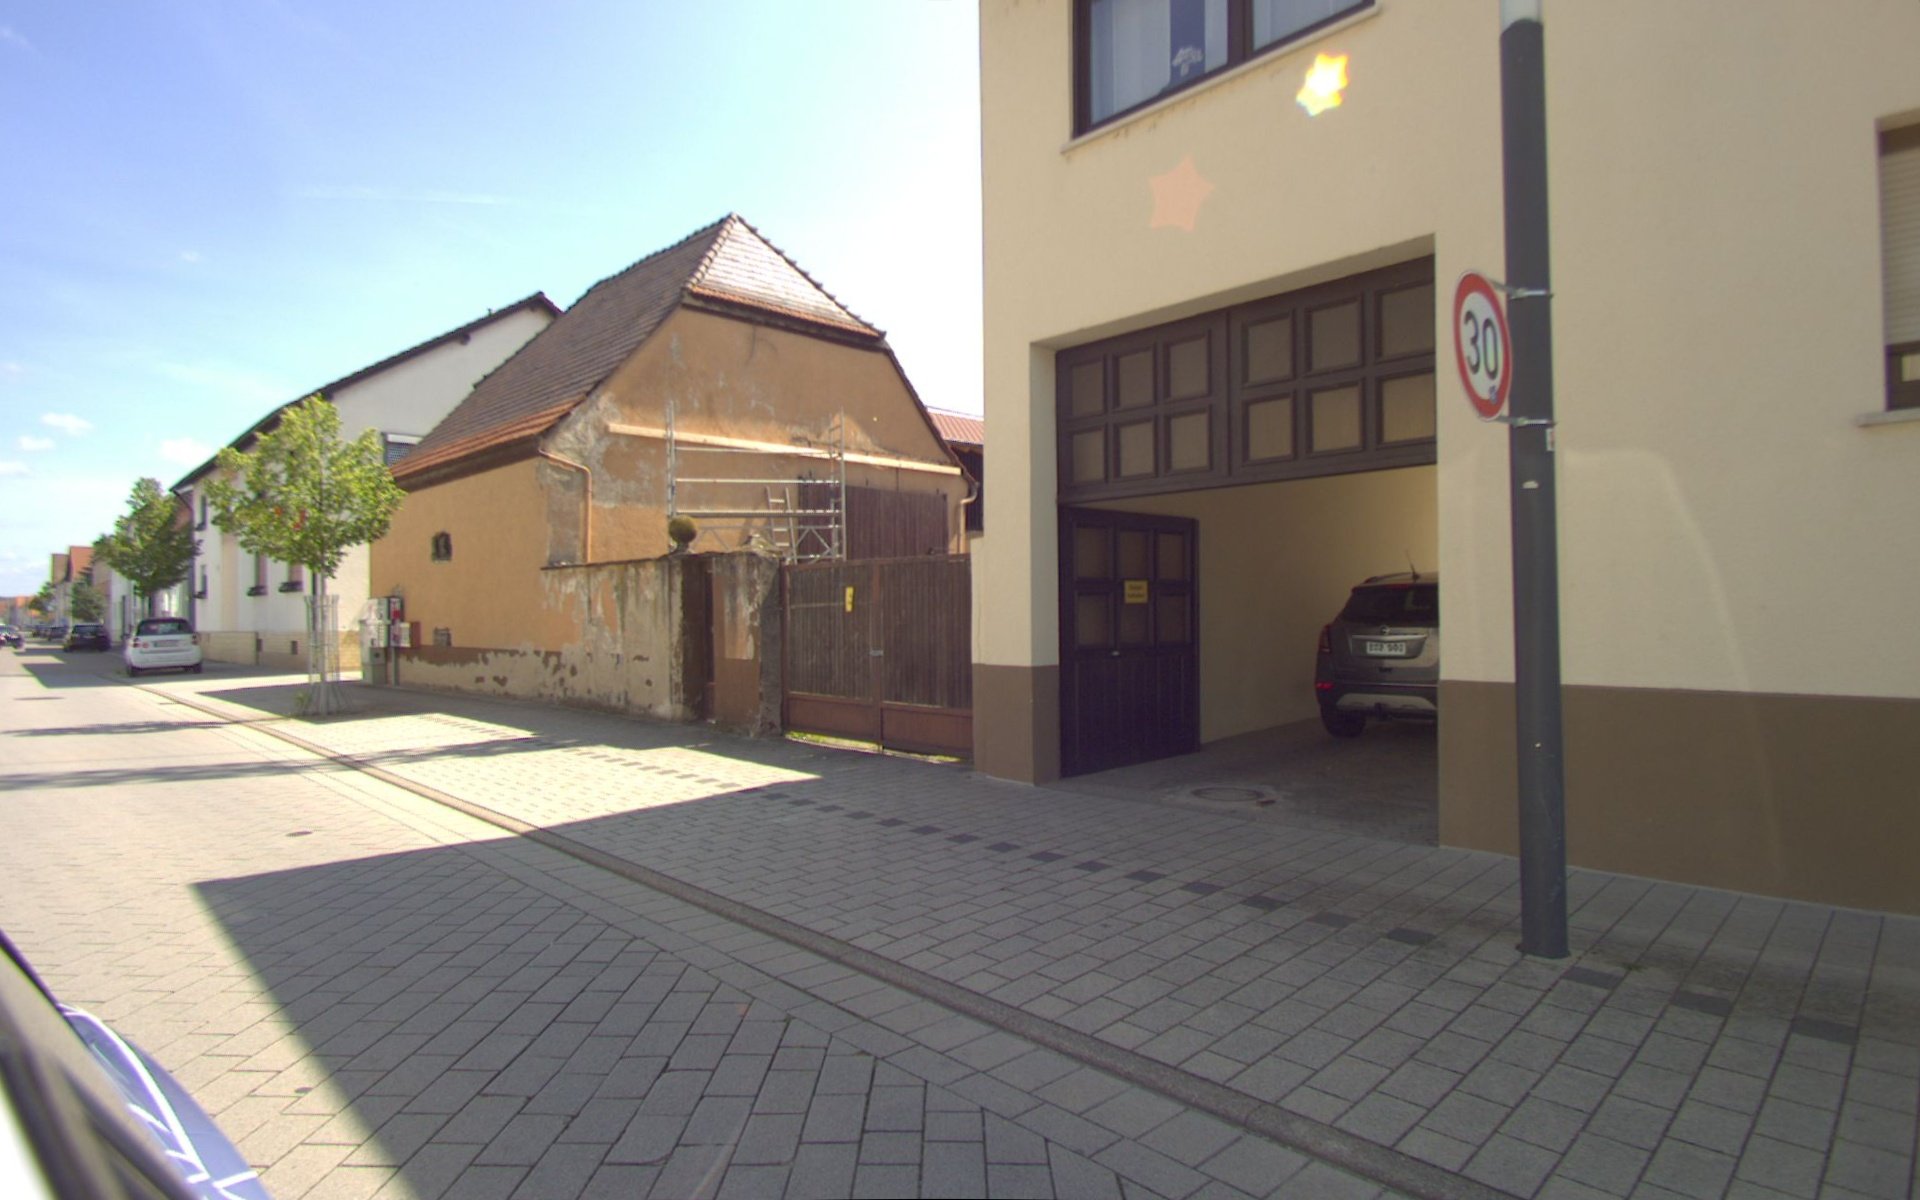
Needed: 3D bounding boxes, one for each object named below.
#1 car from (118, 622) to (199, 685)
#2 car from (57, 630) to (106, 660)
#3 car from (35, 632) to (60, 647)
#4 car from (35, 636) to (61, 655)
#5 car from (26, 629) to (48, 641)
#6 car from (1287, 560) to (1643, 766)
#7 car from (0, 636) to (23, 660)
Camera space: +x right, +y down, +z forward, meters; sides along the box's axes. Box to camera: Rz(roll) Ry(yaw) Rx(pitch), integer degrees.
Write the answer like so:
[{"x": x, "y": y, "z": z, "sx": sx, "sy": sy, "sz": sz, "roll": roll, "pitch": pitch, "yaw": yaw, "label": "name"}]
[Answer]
[{"x": -22.088, "y": 1.424, "z": 27.871, "sx": 1.553, "sy": 1.573, "sz": 2.825, "roll": -3, "pitch": 1, "yaw": -42, "label": "car"}, {"x": -48.324, "y": 2.462, "z": 55.640, "sx": 3.957, "sy": 1.578, "sz": 1.728, "roll": -2, "pitch": -2, "yaw": 45, "label": "car"}, {"x": -101.230, "y": 4.372, "z": 112.270, "sx": 4.001, "sy": 1.564, "sz": 1.829, "roll": -2, "pitch": -2, "yaw": 44, "label": "car"}, {"x": -86.967, "y": 4.304, "z": 96.496, "sx": 1.825, "sy": 1.711, "sz": 4.004, "roll": 1, "pitch": -2, "yaw": -43, "label": "car"}, {"x": -117.973, "y": 4.458, "z": 129.296, "sx": 1.970, "sy": 1.592, "sz": 4.003, "roll": 1, "pitch": -2, "yaw": -44, "label": "car"}, {"x": 5.344, "y": 0.499, "z": 10.508, "sx": 3.938, "sy": 1.637, "sz": 1.892, "roll": -4, "pitch": 1, "yaw": -41, "label": "car"}, {"x": -60.472, "y": 2.986, "z": 62.427, "sx": 3.765, "sy": 1.440, "sz": 1.727, "roll": -1, "pitch": -1, "yaw": 0, "label": "car"}]
